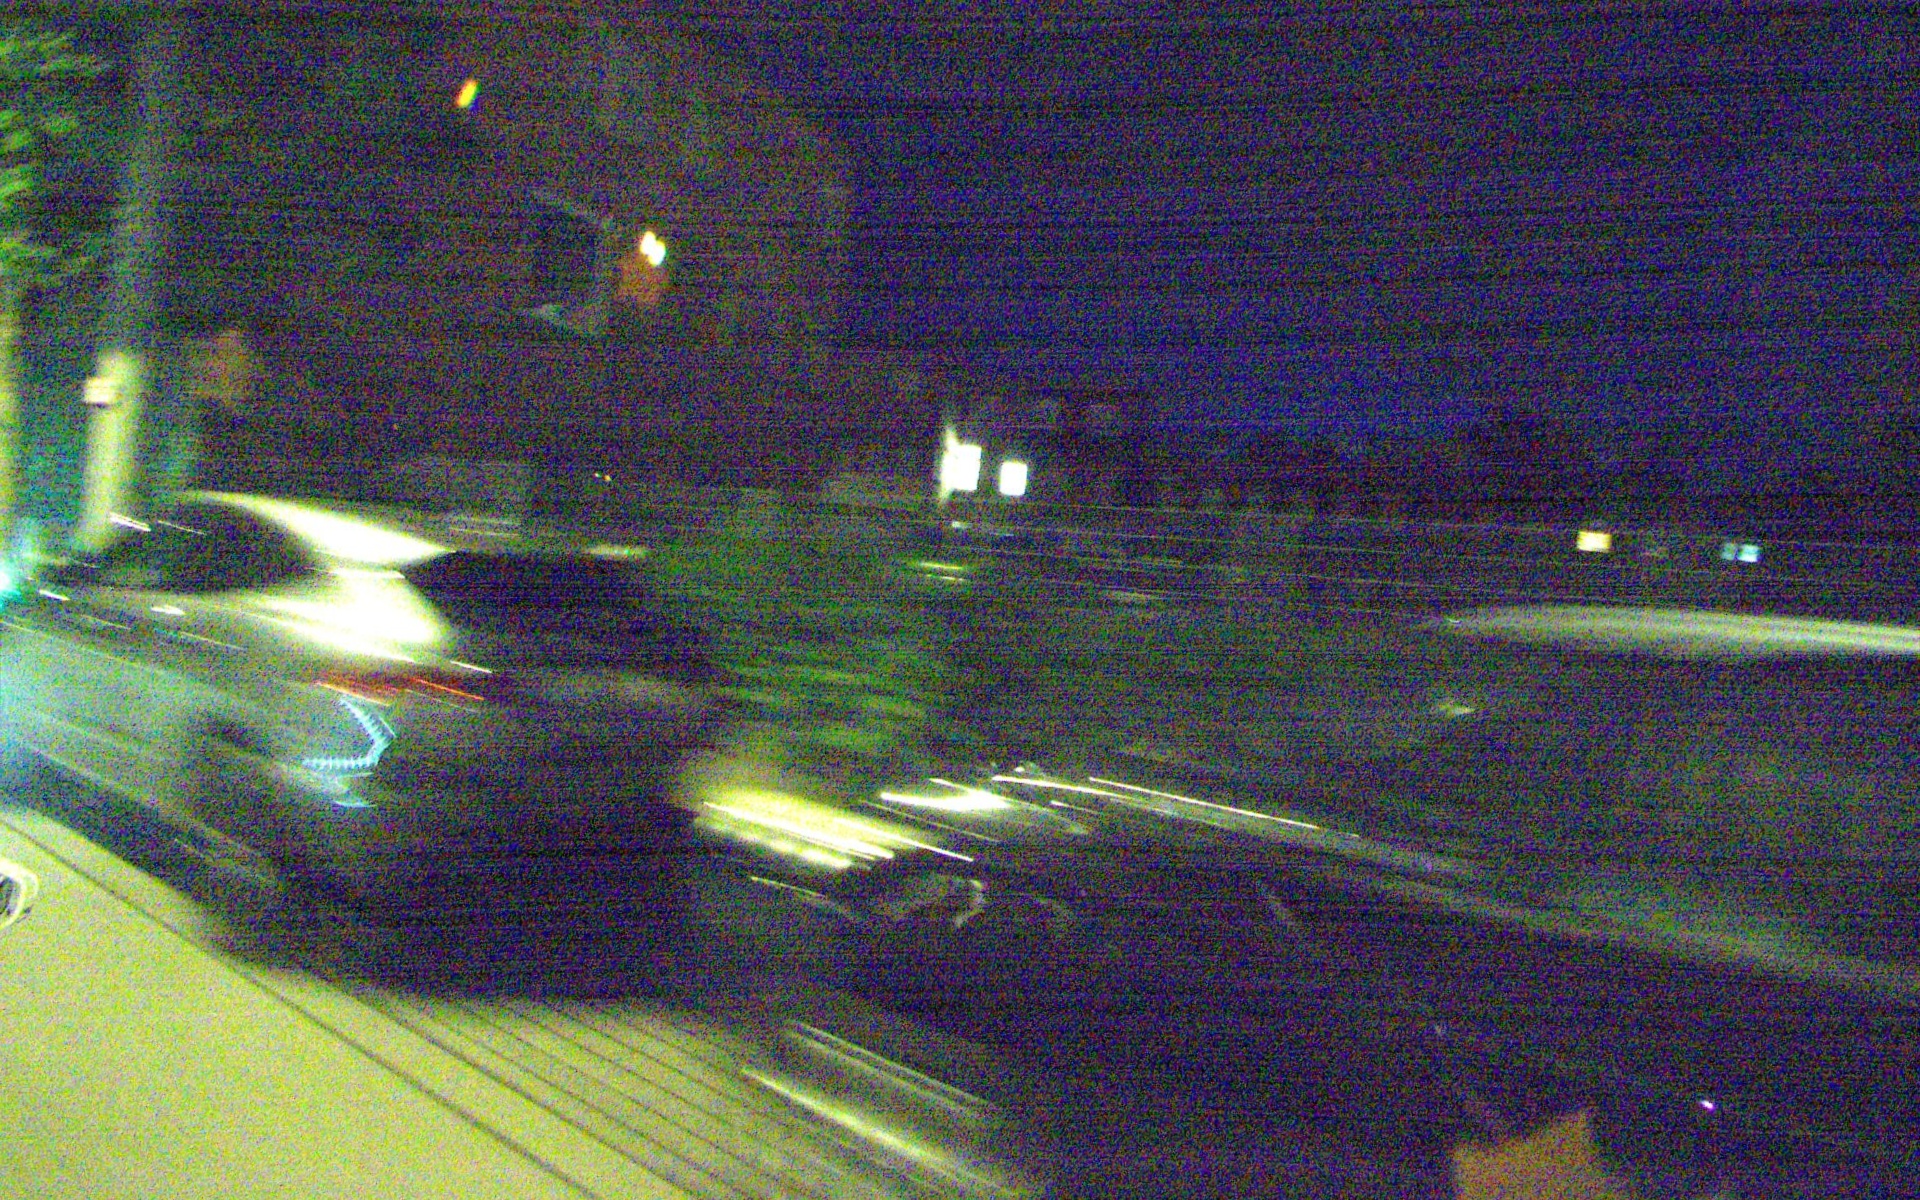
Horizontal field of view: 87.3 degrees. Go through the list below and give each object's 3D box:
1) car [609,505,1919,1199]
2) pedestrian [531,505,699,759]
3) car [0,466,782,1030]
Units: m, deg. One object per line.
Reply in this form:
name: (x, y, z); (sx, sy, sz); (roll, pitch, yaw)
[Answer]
car: (1.434, 0.849, 2.218); (4.138, 1.675, 1.854); (7, 2, 31)
pedestrian: (-2.579, 0.226, 7.525); (0.808, 1.744, 0.705); (7, 2, 32)
car: (-3.111, 0.321, 4.905); (4.139, 1.626, 1.853); (7, 3, 31)
